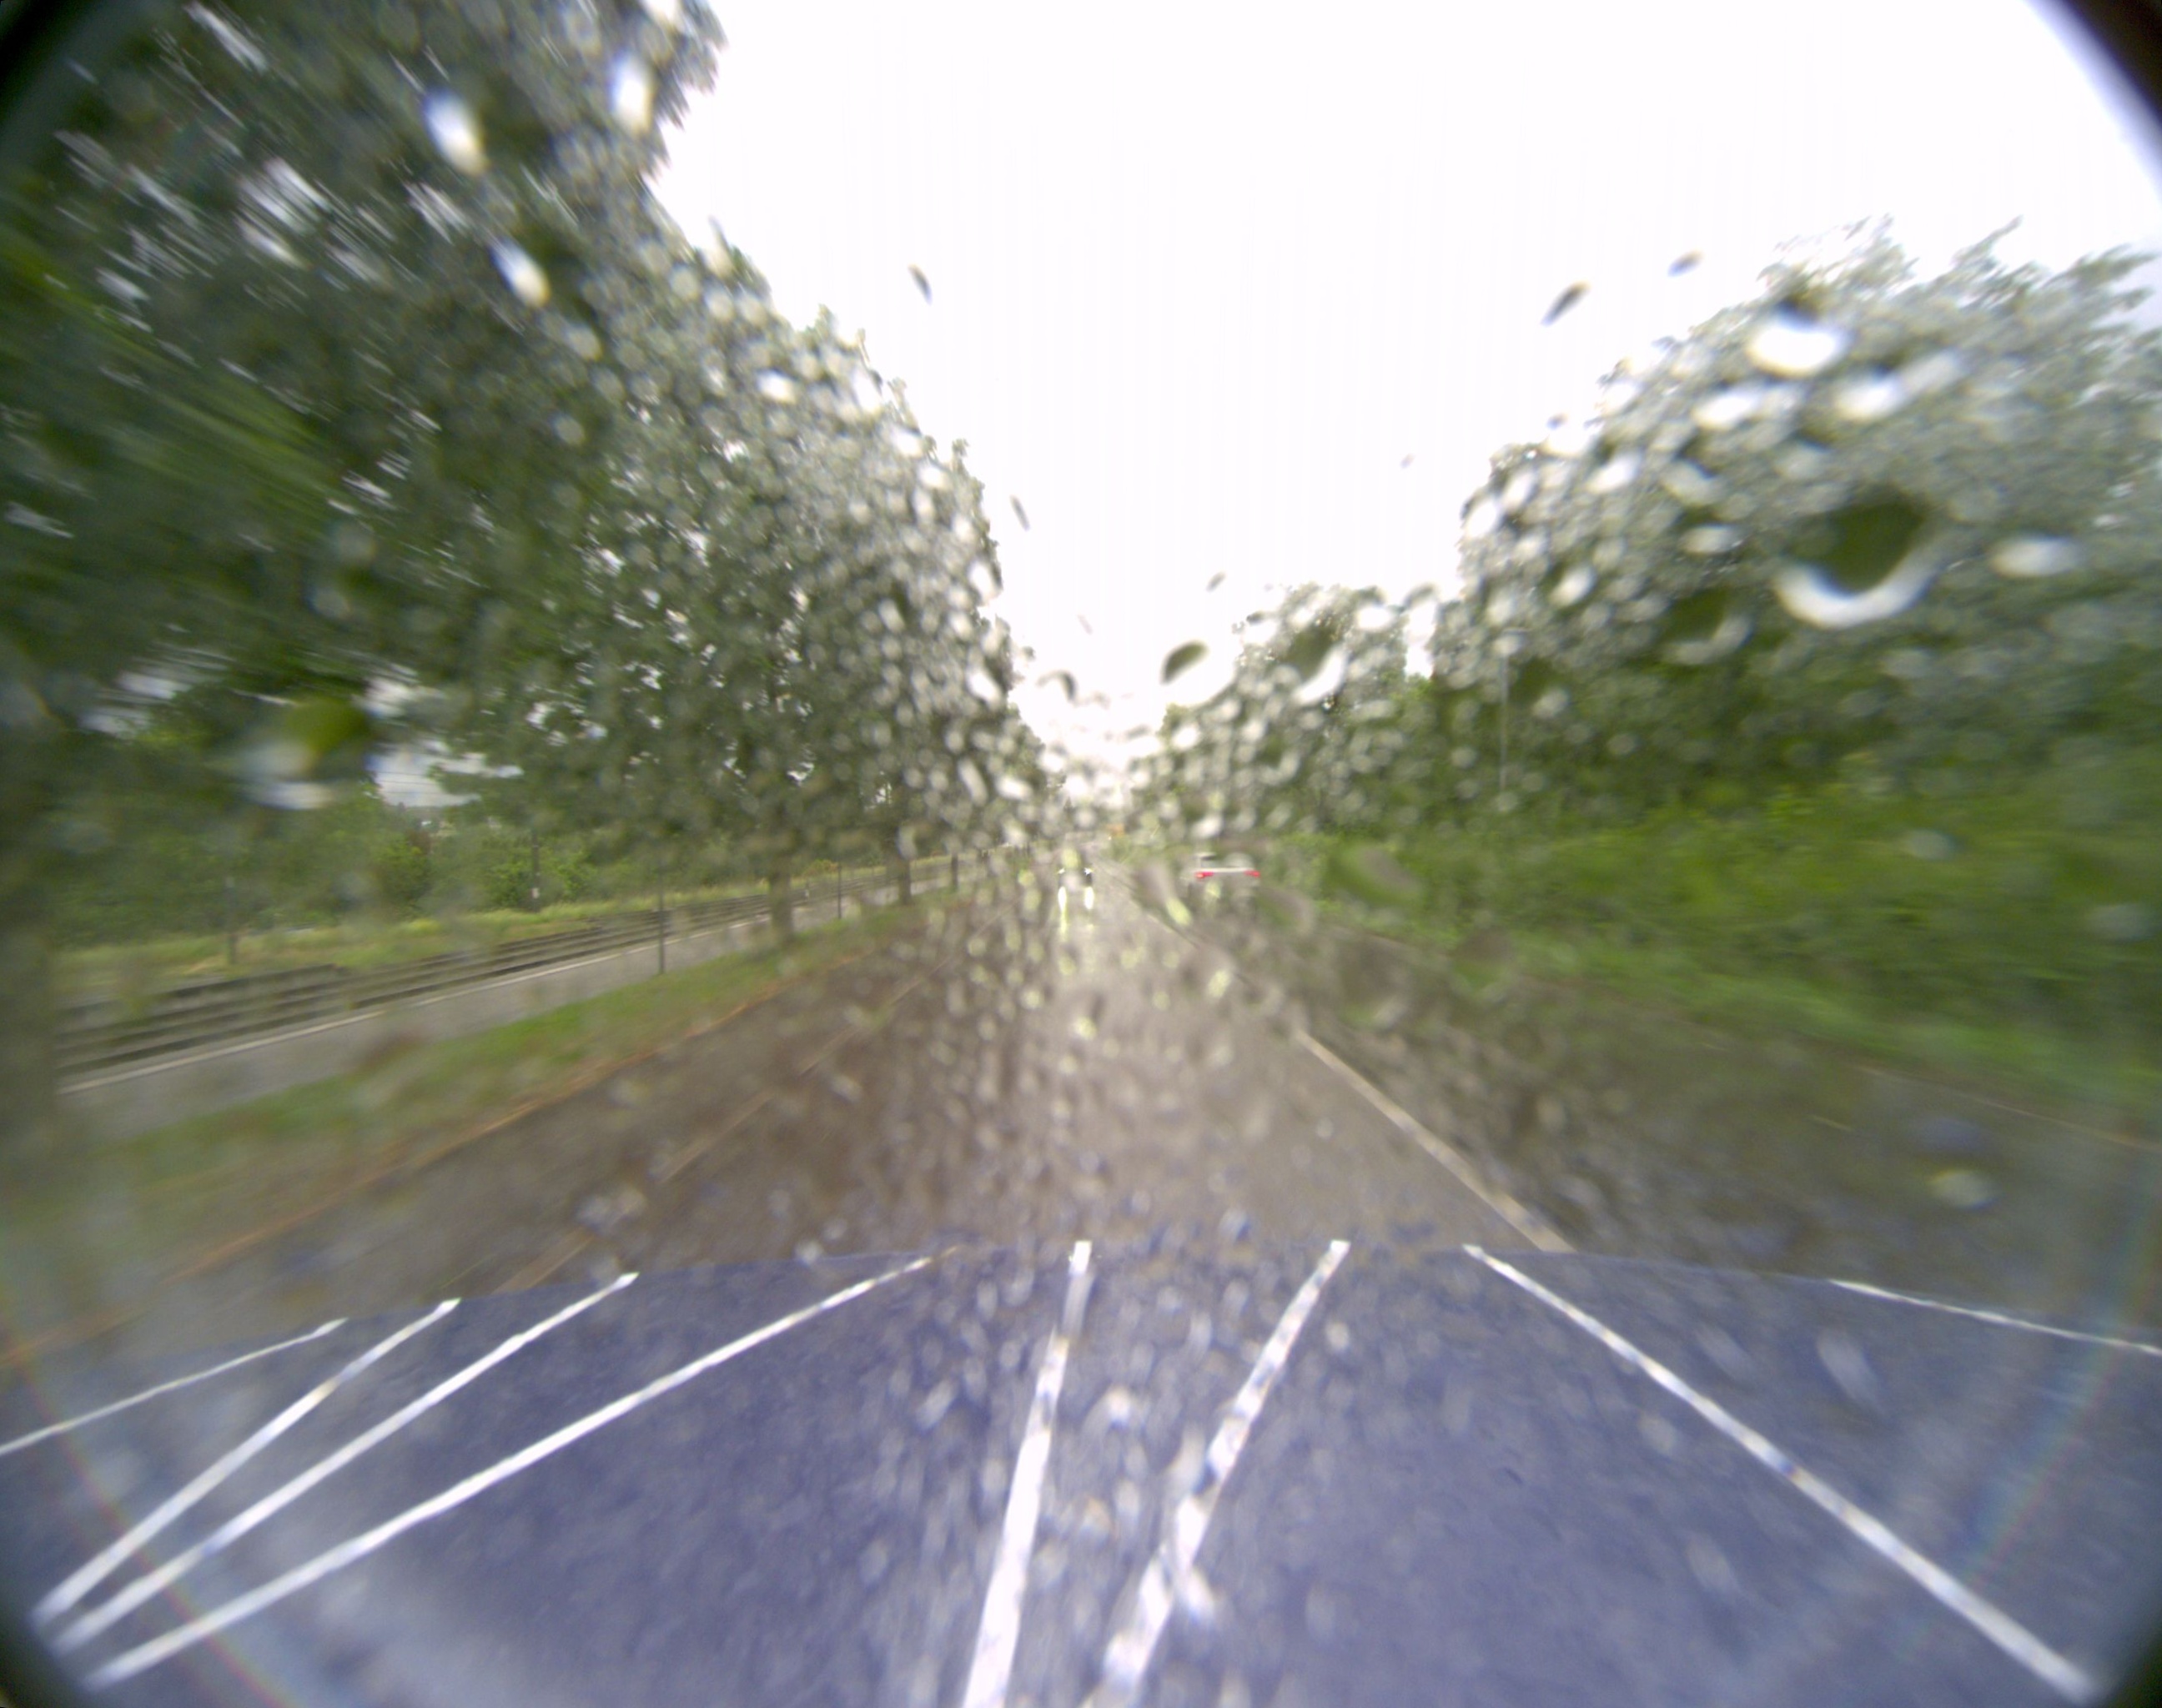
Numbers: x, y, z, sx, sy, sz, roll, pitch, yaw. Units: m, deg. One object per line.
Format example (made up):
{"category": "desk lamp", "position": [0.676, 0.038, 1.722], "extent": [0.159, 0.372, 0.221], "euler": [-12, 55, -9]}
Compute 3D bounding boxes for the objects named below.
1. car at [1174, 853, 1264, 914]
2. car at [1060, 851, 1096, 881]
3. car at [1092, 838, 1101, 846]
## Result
{"category": "car", "position": [3.679, 0.759, 20.880], "extent": [1.786, 1.496, 4.000], "euler": [-1, 0, 1]}
{"category": "car", "position": [-0.103, 0.614, 41.396], "extent": [1.764, 1.477, 3.790], "euler": [0, 1, 2]}
{"category": "car", "position": [3.248, -2.626, 161.466], "extent": [1.765, 1.611, 3.789], "euler": [0, 1, -1]}
